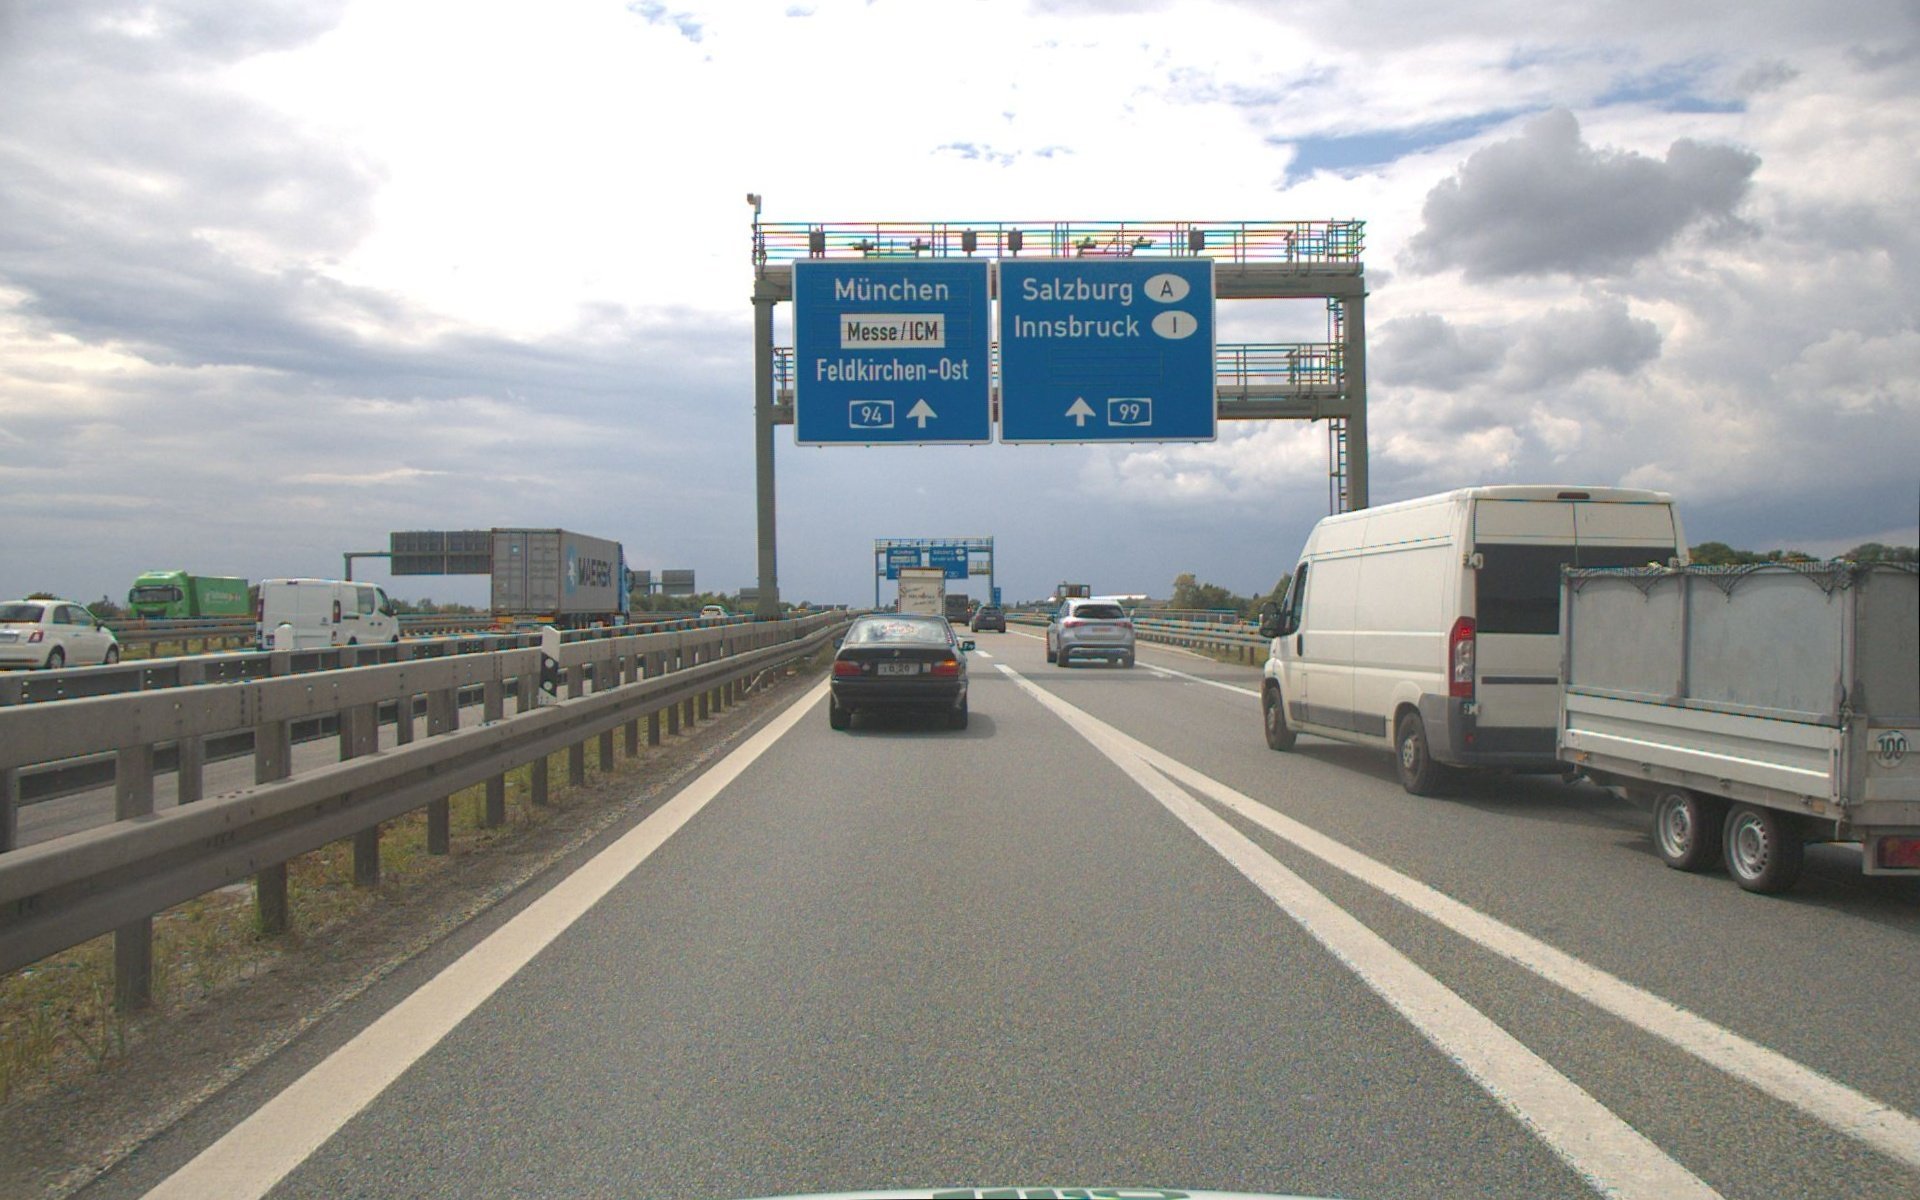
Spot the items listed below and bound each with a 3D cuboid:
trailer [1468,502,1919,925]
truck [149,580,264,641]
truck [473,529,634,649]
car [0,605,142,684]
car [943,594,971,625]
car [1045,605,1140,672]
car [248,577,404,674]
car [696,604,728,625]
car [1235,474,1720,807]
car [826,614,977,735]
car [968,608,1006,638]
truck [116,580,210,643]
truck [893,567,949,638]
[{"bbox_3d":[5.040,0.569,10.428,1.819,2.049,4.625,1,0,-6],"label":"trailer"},{"bbox_3d":[-48.415,0.680,106.626,2.953,3.698,10.431,1,0,-2],"label":"truck"},{"bbox_3d":[-15.571,-0.363,64.921,3.120,4.089,16.064,1,0,-3],"label":"truck"},{"bbox_3d":[-18.037,0.835,32.676,1.761,1.444,3.999,1,0,-1],"label":"car"},{"bbox_3d":[-0.242,0.702,124.004,1.868,2.301,4.646,1,0,-2],"label":"car"},{"bbox_3d":[3.226,0.907,40.876,1.783,1.541,3.997,1,0,-4],"label":"car"},{"bbox_3d":[-14.347,0.550,37.694,1.953,2.049,4.372,1,0,-2],"label":"car"},{"bbox_3d":[-18.680,1.072,124.715,1.791,1.590,3.999,0,0,-1],"label":"car"},{"bbox_3d":[4.451,0.323,15.601,2.073,2.497,6.143,1,0,-6],"label":"car"},{"bbox_3d":[-0.674,0.855,20.760,1.669,1.303,4.365,1,0,-1],"label":"car"},{"bbox_3d":[1.463,1.224,89.939,1.847,1.579,3.998,1,0,-2],"label":"car"},{"bbox_3d":[-48.156,0.675,100.142,2.980,3.672,5.891,0,0,-3],"label":"truck"},{"bbox_3d":[-1.932,0.213,79.842,2.517,3.181,8.629,1,-2,-2],"label":"truck"}]
